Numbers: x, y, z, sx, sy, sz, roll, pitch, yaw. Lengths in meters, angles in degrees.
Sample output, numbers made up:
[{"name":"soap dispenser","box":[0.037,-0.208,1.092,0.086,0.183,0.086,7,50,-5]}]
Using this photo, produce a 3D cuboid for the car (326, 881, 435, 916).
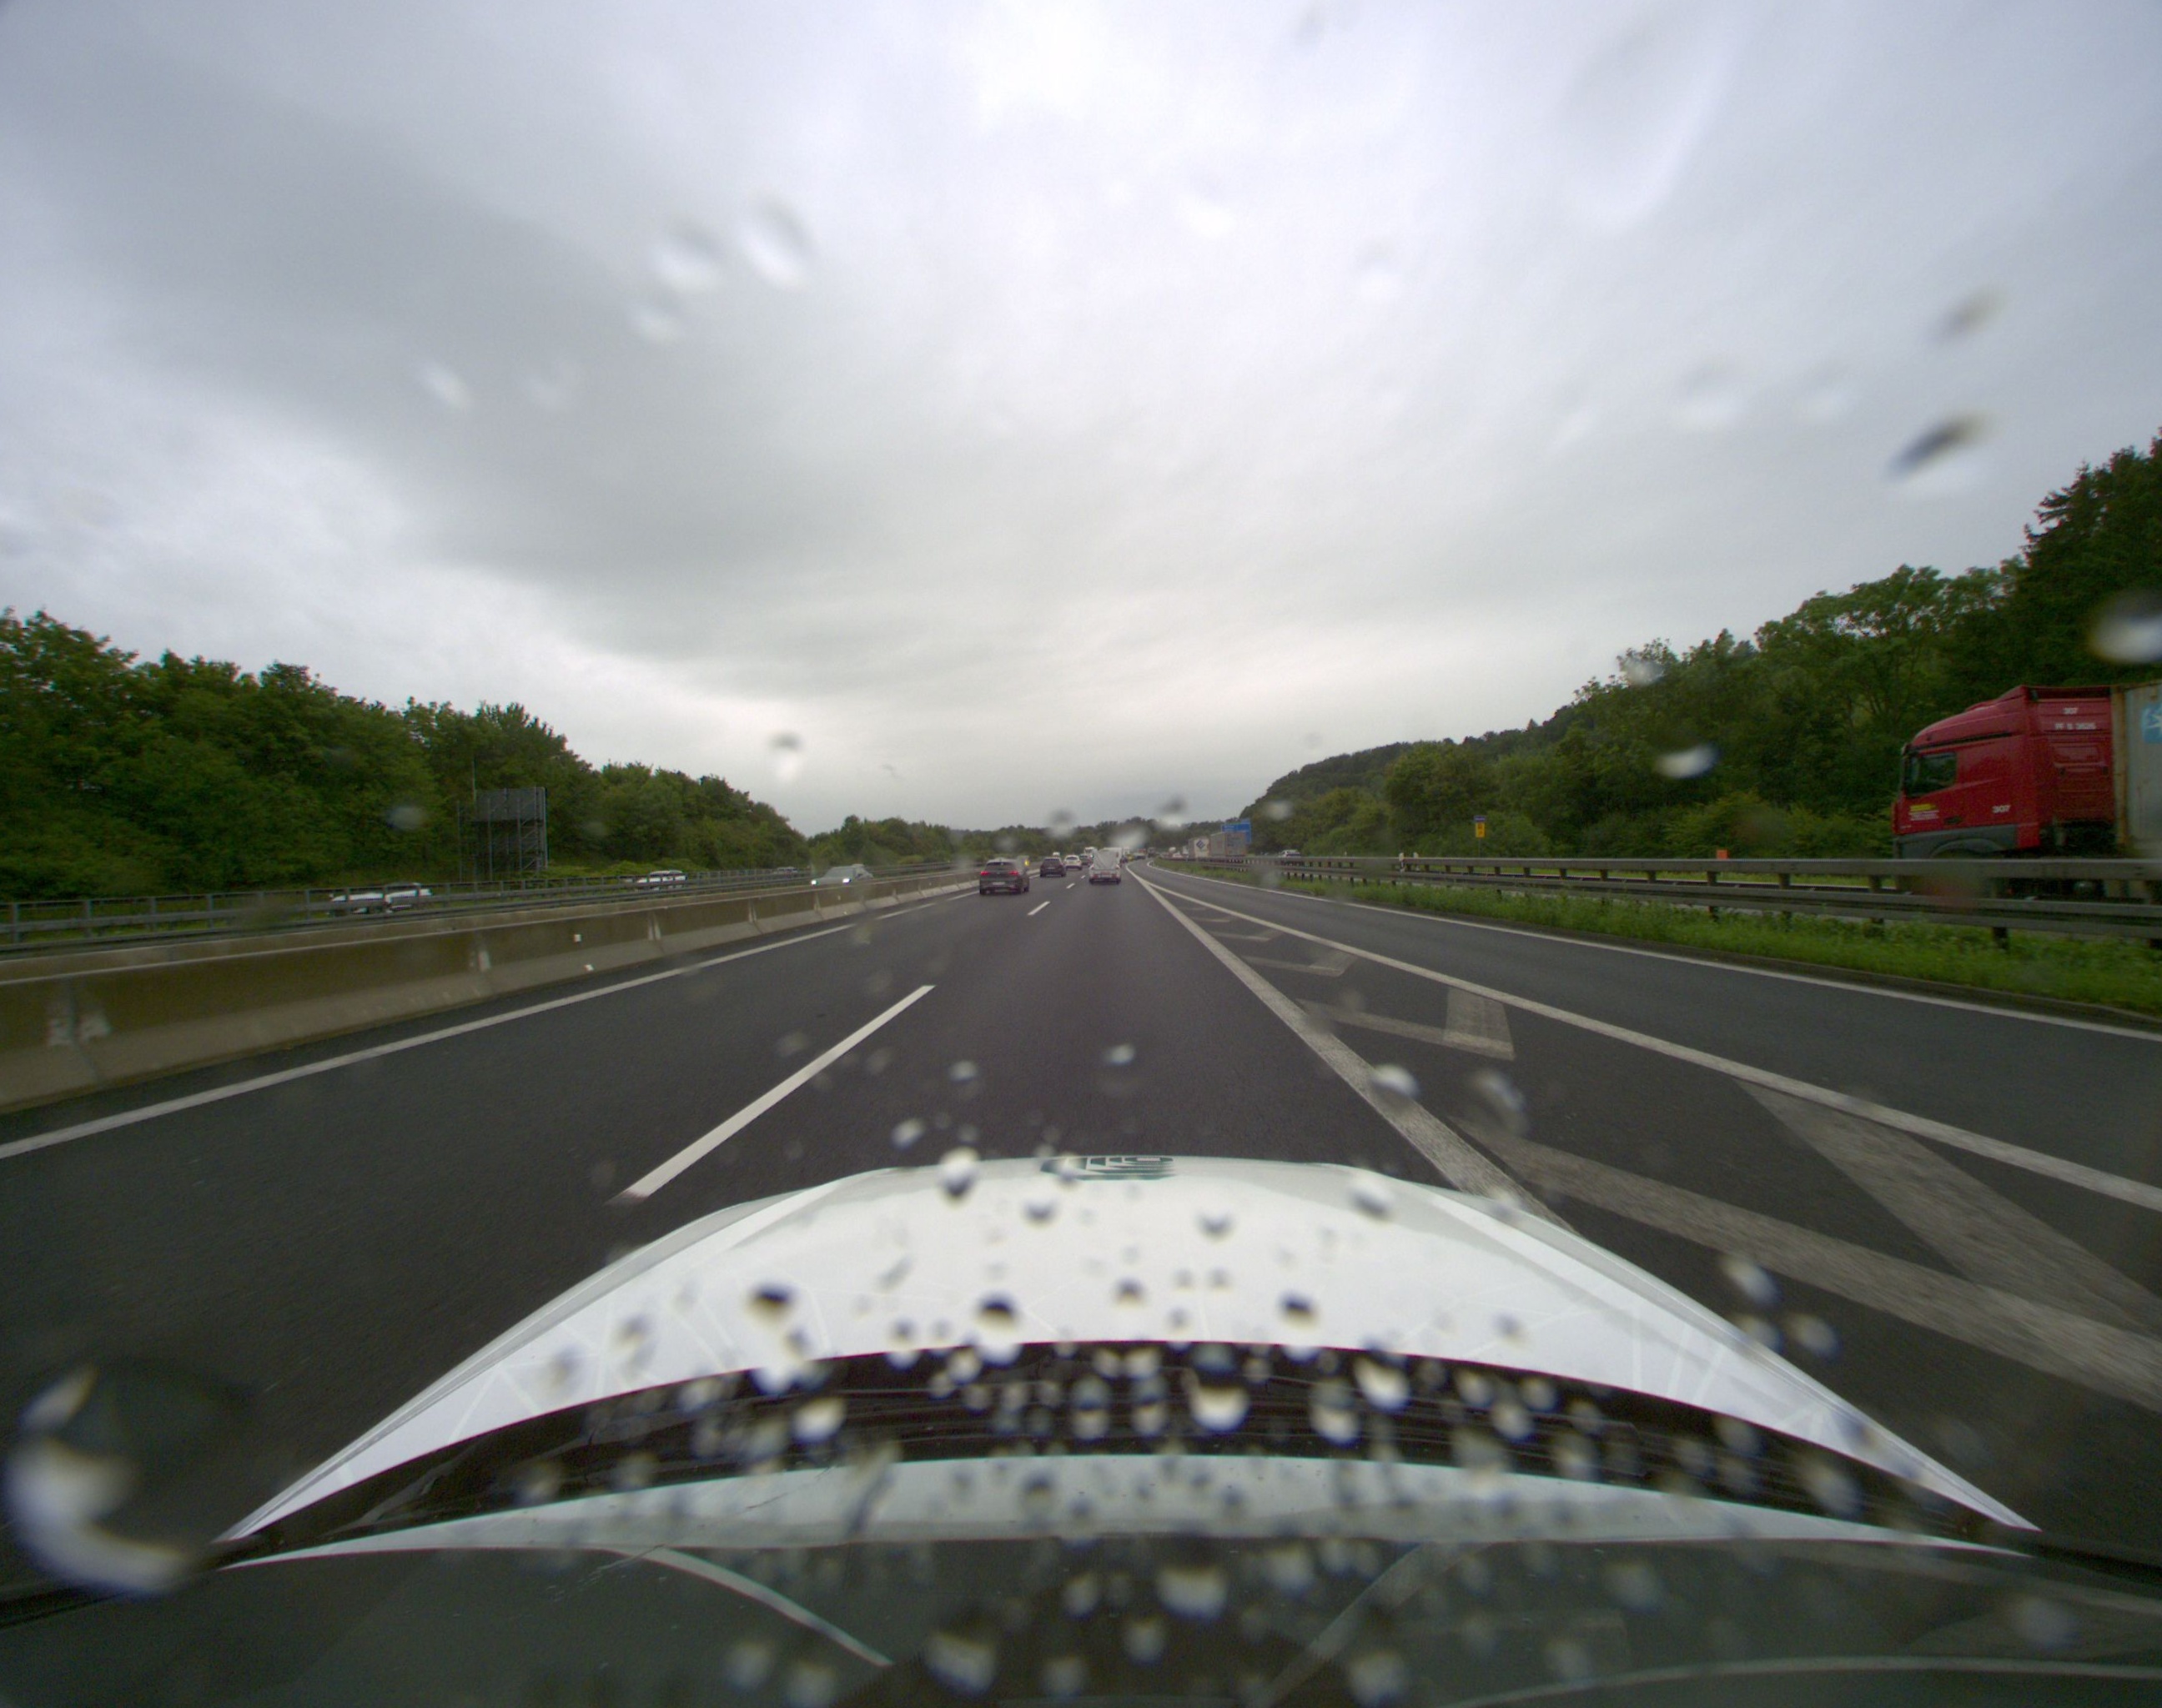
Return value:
[{"name":"car","box":[-33.501,2.107,39.090,1.669,1.456,4.002,-1,0,2]}]

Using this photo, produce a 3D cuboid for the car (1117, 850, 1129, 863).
[{"name":"car","box":[6.810,0.388,131.585,1.671,2.067,3.997,-1,0,-1]}]

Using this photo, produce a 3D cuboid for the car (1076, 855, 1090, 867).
[{"name":"car","box":[0.342,0.927,113.760,1.769,1.640,4.045,-1,0,2]}]

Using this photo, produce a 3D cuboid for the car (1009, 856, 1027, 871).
[{"name":"car","box":[-8.657,1.346,112.091,1.986,2.014,4.985,-1,0,2]}]

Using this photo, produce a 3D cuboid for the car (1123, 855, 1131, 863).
[{"name":"car","box":[10.096,1.151,180.039,1.668,1.812,4.005,-1,0,4]}]

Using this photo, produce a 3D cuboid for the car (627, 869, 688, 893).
[{"name":"car","box":[-28.244,1.779,54.453,1.670,1.456,4.632,-1,0,0]}]

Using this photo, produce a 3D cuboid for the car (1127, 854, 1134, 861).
[{"name":"car","box":[12.706,0.805,207.597,1.668,1.812,4.005,-1,0,4]}]

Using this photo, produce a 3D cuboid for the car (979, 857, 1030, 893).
[{"name":"car","box":[-3.212,0.866,34.883,1.669,1.456,4.002,-1,0,2]}]

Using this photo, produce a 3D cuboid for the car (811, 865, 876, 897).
[{"name":"car","box":[-11.466,1.275,39.616,1.749,1.456,4.420,-1,0,2]}]

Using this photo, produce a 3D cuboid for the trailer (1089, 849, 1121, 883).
[{"name":"trailer","box":[1.382,0.640,45.277,1.669,1.812,4.003,-1,0,3]}]

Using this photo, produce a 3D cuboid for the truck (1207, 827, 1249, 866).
[{"name":"truck","box":[18.333,-0.836,102.414,3.204,4.666,13.034,-1,0,1]}]

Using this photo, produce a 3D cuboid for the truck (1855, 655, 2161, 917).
[{"name":"truck","box":[17.233,-1.008,13.466,2.610,3.885,6.386,-1,-1,-2]}]

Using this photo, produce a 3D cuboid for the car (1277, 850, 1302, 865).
[{"name":"car","box":[21.799,0.347,85.117,1.670,1.456,4.001,-1,0,1]}]

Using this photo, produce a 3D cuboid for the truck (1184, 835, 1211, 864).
[{"name":"truck","box":[20.243,-0.718,142.172,3.203,4.666,13.040,-1,0,2]}]

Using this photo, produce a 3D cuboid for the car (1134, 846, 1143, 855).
[{"name":"car","box":[17.519,-0.963,246.882,2.503,2.574,5.320,-1,0,5]}]

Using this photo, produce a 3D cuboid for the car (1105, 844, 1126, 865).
[{"name":"car","box":[4.414,0.111,104.153,2.496,2.585,5.706,-1,0,4]}]

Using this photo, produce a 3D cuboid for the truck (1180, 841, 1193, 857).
[{"name":"truck","box":[31.786,-1.448,244.756,3.643,4.666,13.058,-1,0,7]}]

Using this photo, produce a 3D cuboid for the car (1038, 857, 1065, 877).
[{"name":"car","box":[-2.184,0.989,61.656,1.758,1.456,4.002,-1,0,2]}]

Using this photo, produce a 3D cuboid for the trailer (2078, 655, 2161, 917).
[{"name":"trailer","box":[17.558,-1.060,6.898,2.597,3.894,12.480,-1,0,-2]}]

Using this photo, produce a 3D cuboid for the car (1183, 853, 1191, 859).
[{"name":"car","box":[25.933,0.555,199.095,1.668,1.456,4.004,-1,0,4]}]

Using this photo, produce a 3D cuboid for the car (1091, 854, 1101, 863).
[{"name":"car","box":[2.877,0.911,158.074,1.769,1.640,4.045,-1,0,2]}]

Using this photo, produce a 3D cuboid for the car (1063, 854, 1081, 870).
[{"name":"car","box":[-0.923,0.879,88.101,1.769,1.640,4.045,-1,0,2]}]

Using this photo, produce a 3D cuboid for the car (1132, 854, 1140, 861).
[{"name":"car","box":[14.889,0.975,221.592,2.028,1.683,4.005,-1,0,5]}]

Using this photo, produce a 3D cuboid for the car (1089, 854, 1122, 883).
[{"name":"car","box":[1.513,0.827,48.760,1.811,1.616,4.781,-1,0,3]}]

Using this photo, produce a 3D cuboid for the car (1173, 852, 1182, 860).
[{"name":"car","box":[19.574,0.387,164.770,1.667,1.456,4.006,-1,0,6]}]
